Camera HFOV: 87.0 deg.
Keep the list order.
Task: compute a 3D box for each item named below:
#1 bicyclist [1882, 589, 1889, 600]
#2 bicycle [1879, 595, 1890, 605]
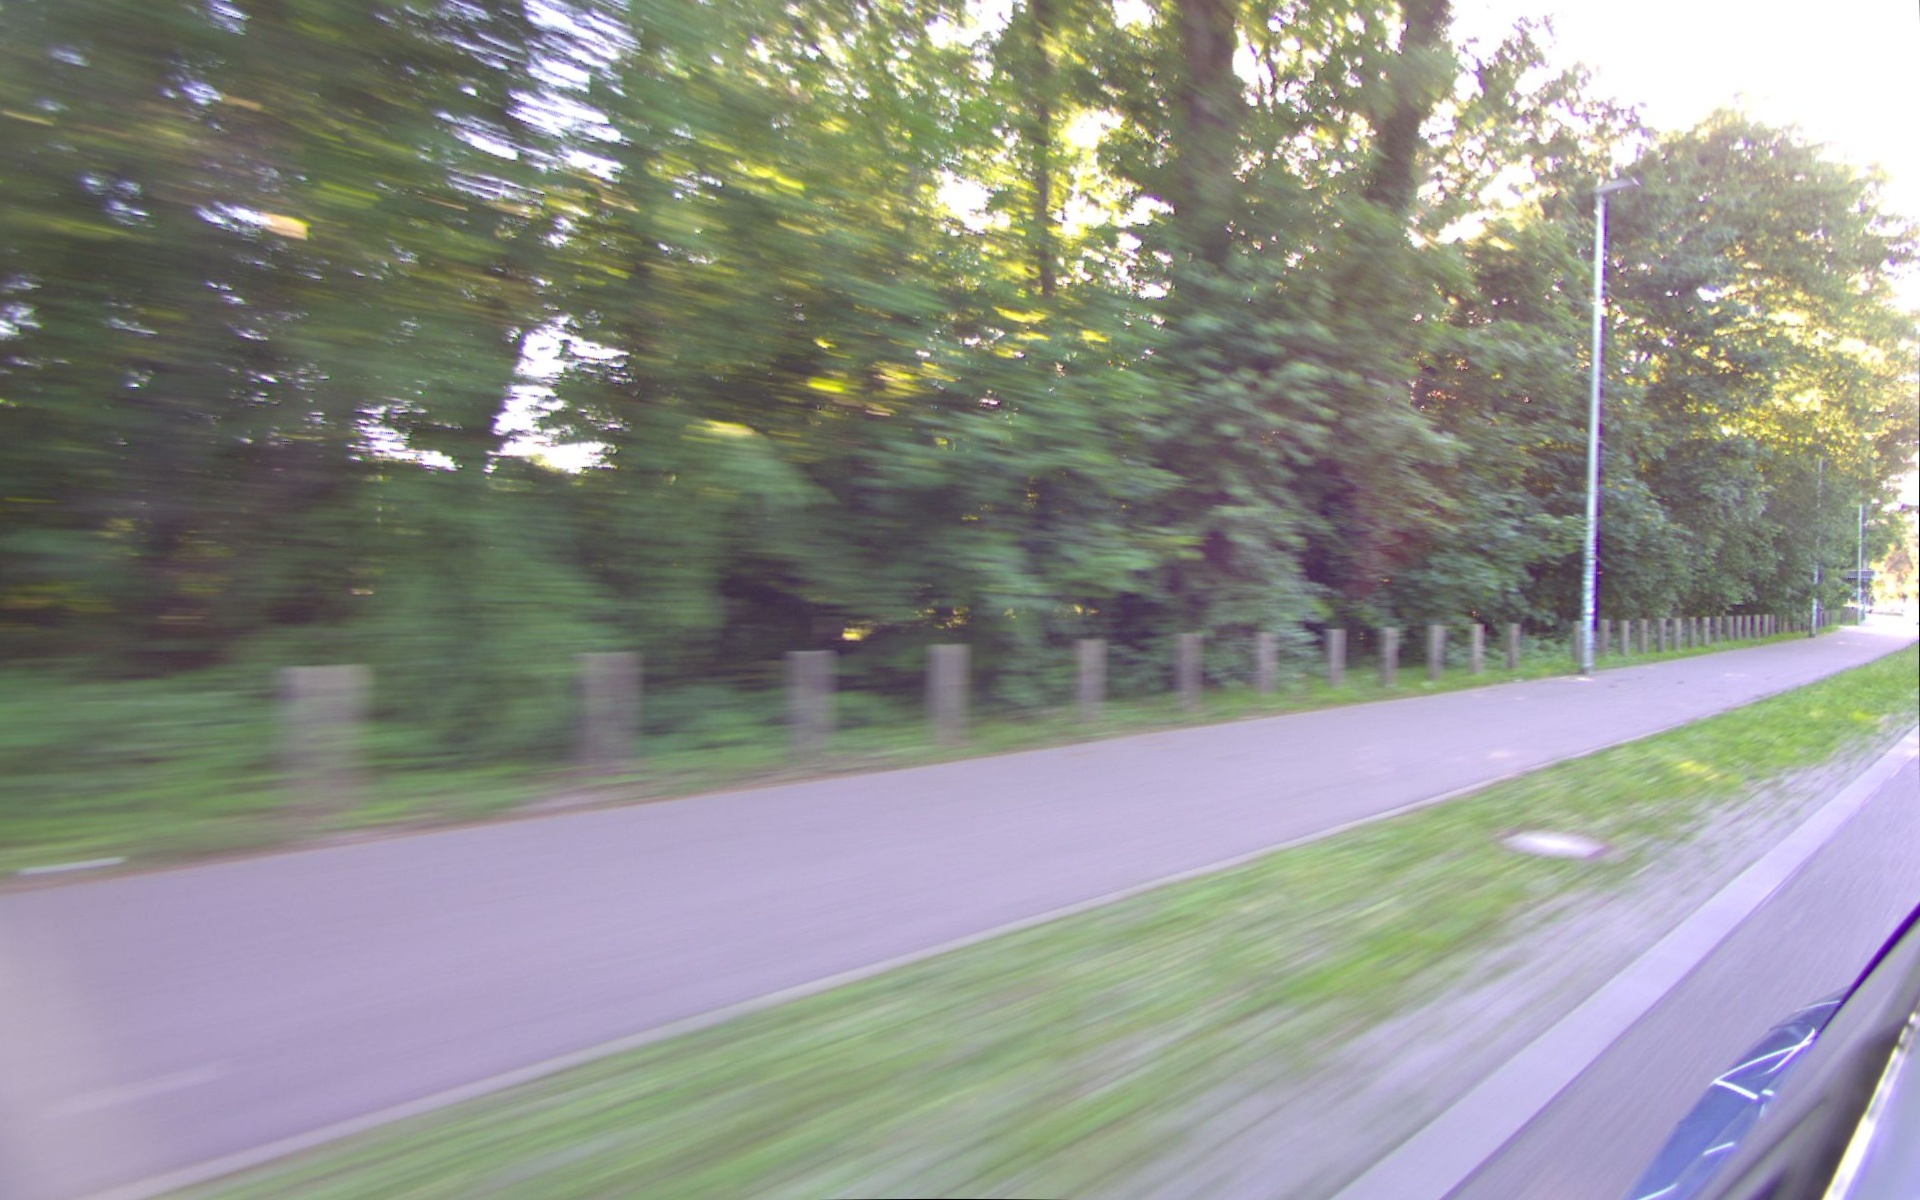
[{"bbox_3d":[101.104,-0.595,110.593,0.512,1.283,0.491,1,1,37],"label":"bicyclist"},{"bbox_3d":[101.108,0.035,110.668,0.605,1.070,2.837,1,1,36],"label":"bicycle"}]
